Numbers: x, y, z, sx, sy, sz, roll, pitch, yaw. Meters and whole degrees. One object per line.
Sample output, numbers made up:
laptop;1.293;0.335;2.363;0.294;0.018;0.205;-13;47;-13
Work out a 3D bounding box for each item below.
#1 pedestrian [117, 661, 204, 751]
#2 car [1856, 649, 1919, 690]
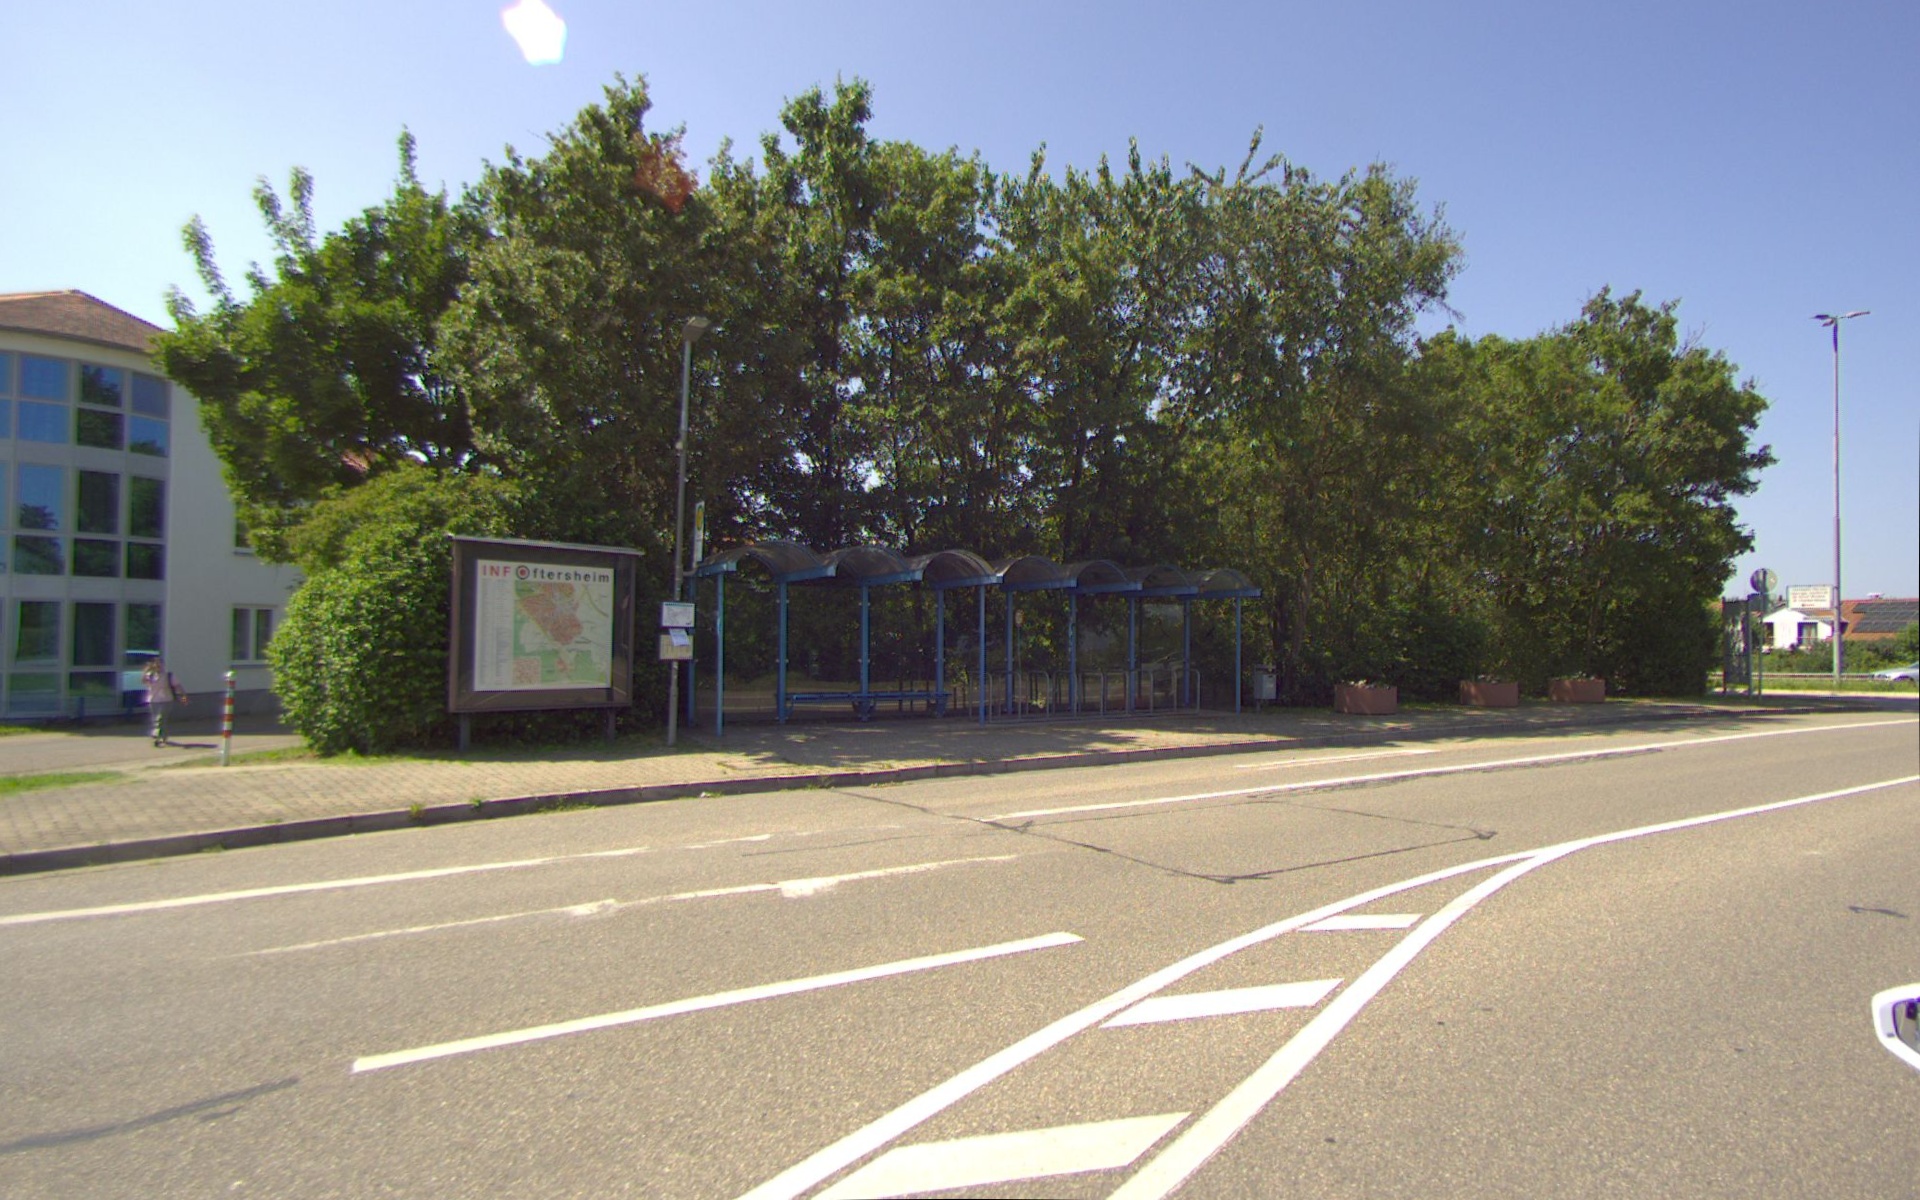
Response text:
pedestrian;-14.543;1.907;18.297;0.905;1.587;0.790;0;-2;-1
car;37.074;2.636;38.091;4.336;1.490;1.639;-1;-3;29
